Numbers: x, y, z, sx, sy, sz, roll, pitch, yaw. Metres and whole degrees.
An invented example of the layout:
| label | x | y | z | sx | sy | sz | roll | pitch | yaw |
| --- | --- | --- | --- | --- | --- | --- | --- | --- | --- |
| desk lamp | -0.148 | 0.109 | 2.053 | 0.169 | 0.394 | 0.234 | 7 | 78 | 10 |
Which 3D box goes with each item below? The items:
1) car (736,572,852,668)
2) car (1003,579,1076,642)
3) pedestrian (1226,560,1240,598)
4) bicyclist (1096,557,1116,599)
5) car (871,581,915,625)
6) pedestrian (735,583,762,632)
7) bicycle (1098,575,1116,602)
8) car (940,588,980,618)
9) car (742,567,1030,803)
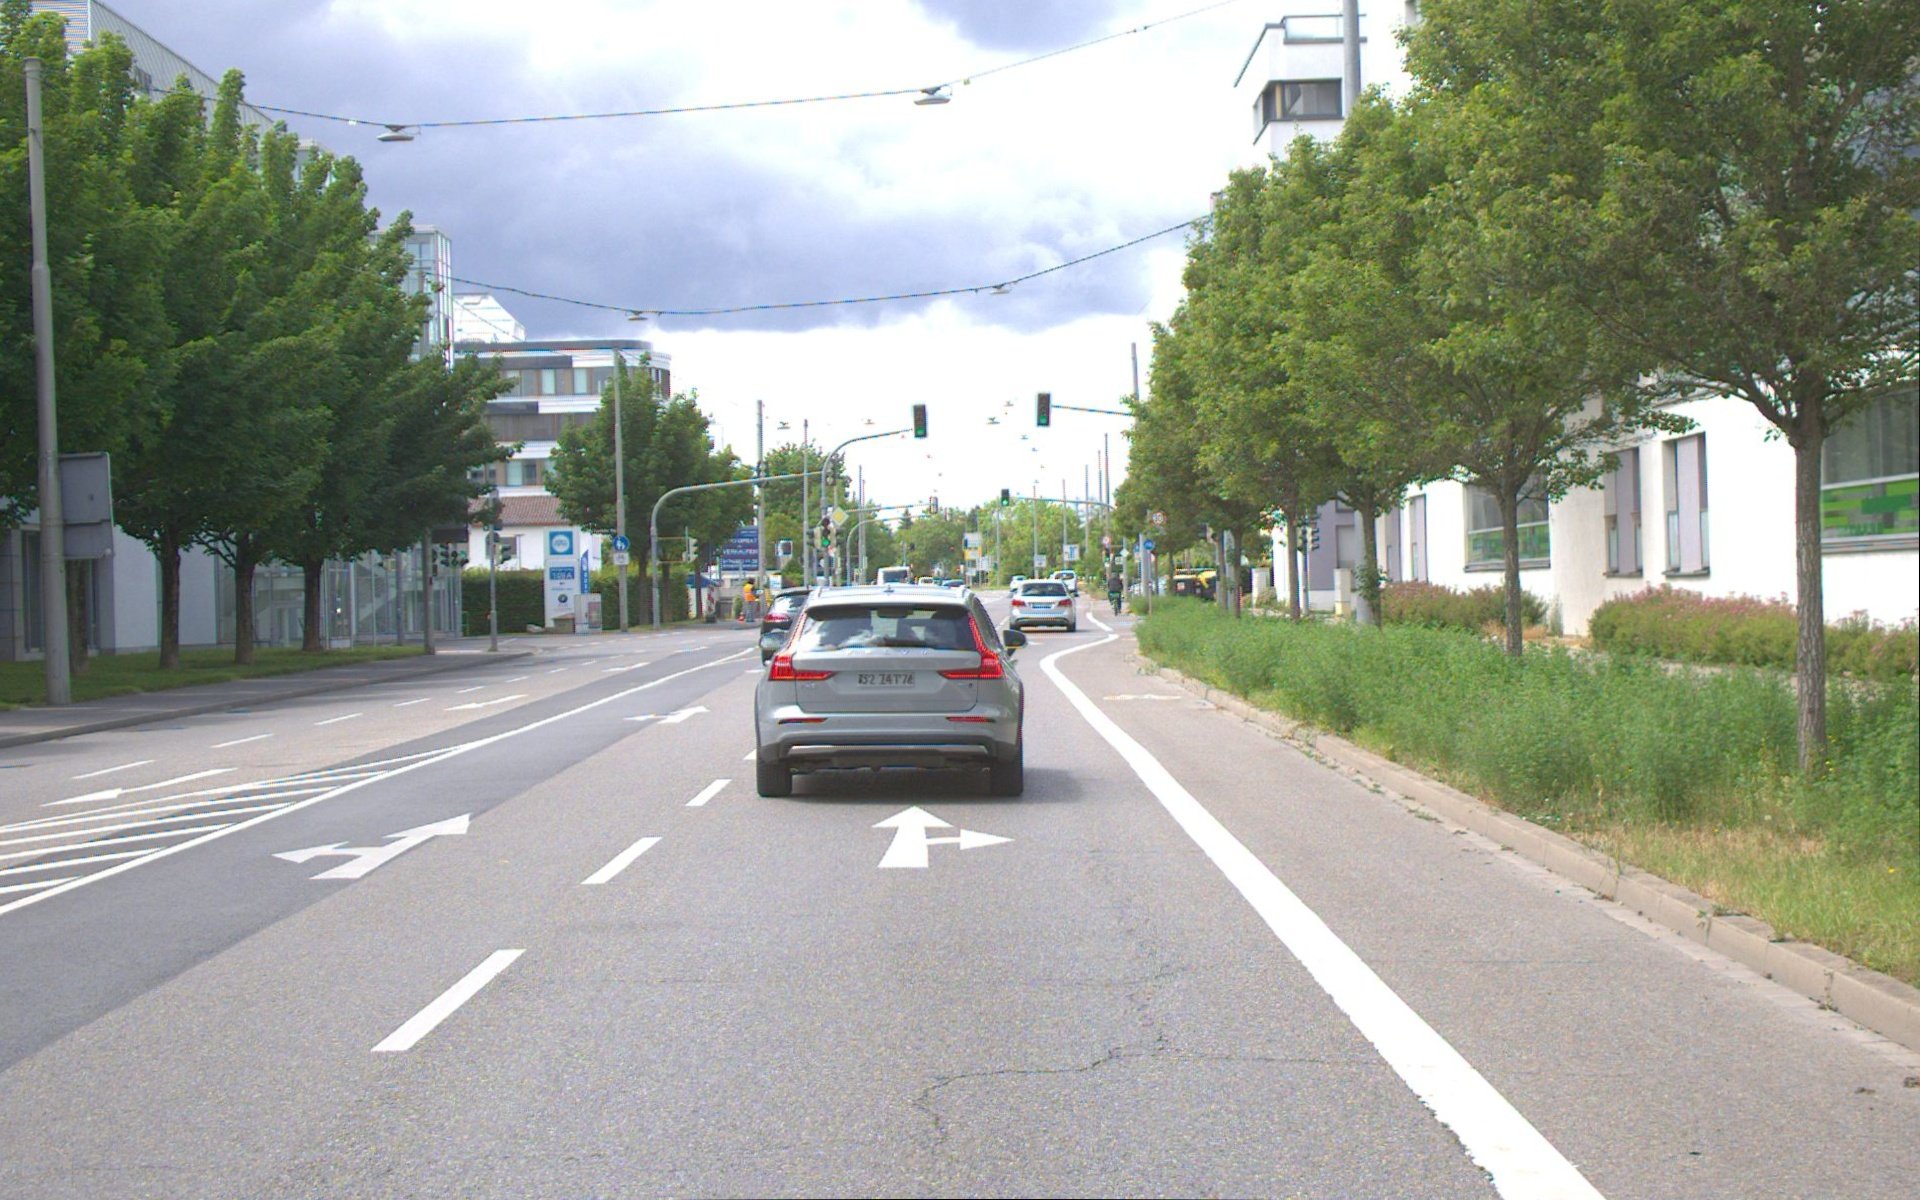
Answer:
| label | x | y | z | sx | sy | sz | roll | pitch | yaw |
| --- | --- | --- | --- | --- | --- | --- | --- | --- | --- |
| car | -3.062 | 0.389 | 64.131 | 1.993 | 1.711 | 4.000 | 1 | -1 | -1 |
| car | 2.234 | 0.312 | 96.868 | 1.993 | 1.689 | 4.000 | 1 | -1 | 1 |
| pedestrian | 12.729 | -0.999 | 160.279 | 0.507 | 1.759 | 0.500 | 1 | -1 | 18 |
| bicyclist | 5.901 | -0.891 | 138.927 | 0.638 | 1.670 | 0.890 | -5 | 0 | 2 |
| car | -3.904 | 0.171 | 201.657 | 2.143 | 2.463 | 6.072 | -3 | 0 | 2 |
| pedestrian | -8.755 | 0.302 | 142.545 | 0.725 | 2.007 | 0.808 | 0 | -1 | 44 |
| bicycle | 5.934 | -0.460 | 138.961 | 0.638 | 1.059 | 1.977 | -5 | 0 | 2 |
| car | 0.000 | 0.199 | 193.398 | 1.885 | 1.547 | 4.539 | -2 | -1 | 4 |
| car | -0.515 | 0.592 | 24.904 | 1.895 | 1.549 | 4.000 | 1 | -1 | -1 |
